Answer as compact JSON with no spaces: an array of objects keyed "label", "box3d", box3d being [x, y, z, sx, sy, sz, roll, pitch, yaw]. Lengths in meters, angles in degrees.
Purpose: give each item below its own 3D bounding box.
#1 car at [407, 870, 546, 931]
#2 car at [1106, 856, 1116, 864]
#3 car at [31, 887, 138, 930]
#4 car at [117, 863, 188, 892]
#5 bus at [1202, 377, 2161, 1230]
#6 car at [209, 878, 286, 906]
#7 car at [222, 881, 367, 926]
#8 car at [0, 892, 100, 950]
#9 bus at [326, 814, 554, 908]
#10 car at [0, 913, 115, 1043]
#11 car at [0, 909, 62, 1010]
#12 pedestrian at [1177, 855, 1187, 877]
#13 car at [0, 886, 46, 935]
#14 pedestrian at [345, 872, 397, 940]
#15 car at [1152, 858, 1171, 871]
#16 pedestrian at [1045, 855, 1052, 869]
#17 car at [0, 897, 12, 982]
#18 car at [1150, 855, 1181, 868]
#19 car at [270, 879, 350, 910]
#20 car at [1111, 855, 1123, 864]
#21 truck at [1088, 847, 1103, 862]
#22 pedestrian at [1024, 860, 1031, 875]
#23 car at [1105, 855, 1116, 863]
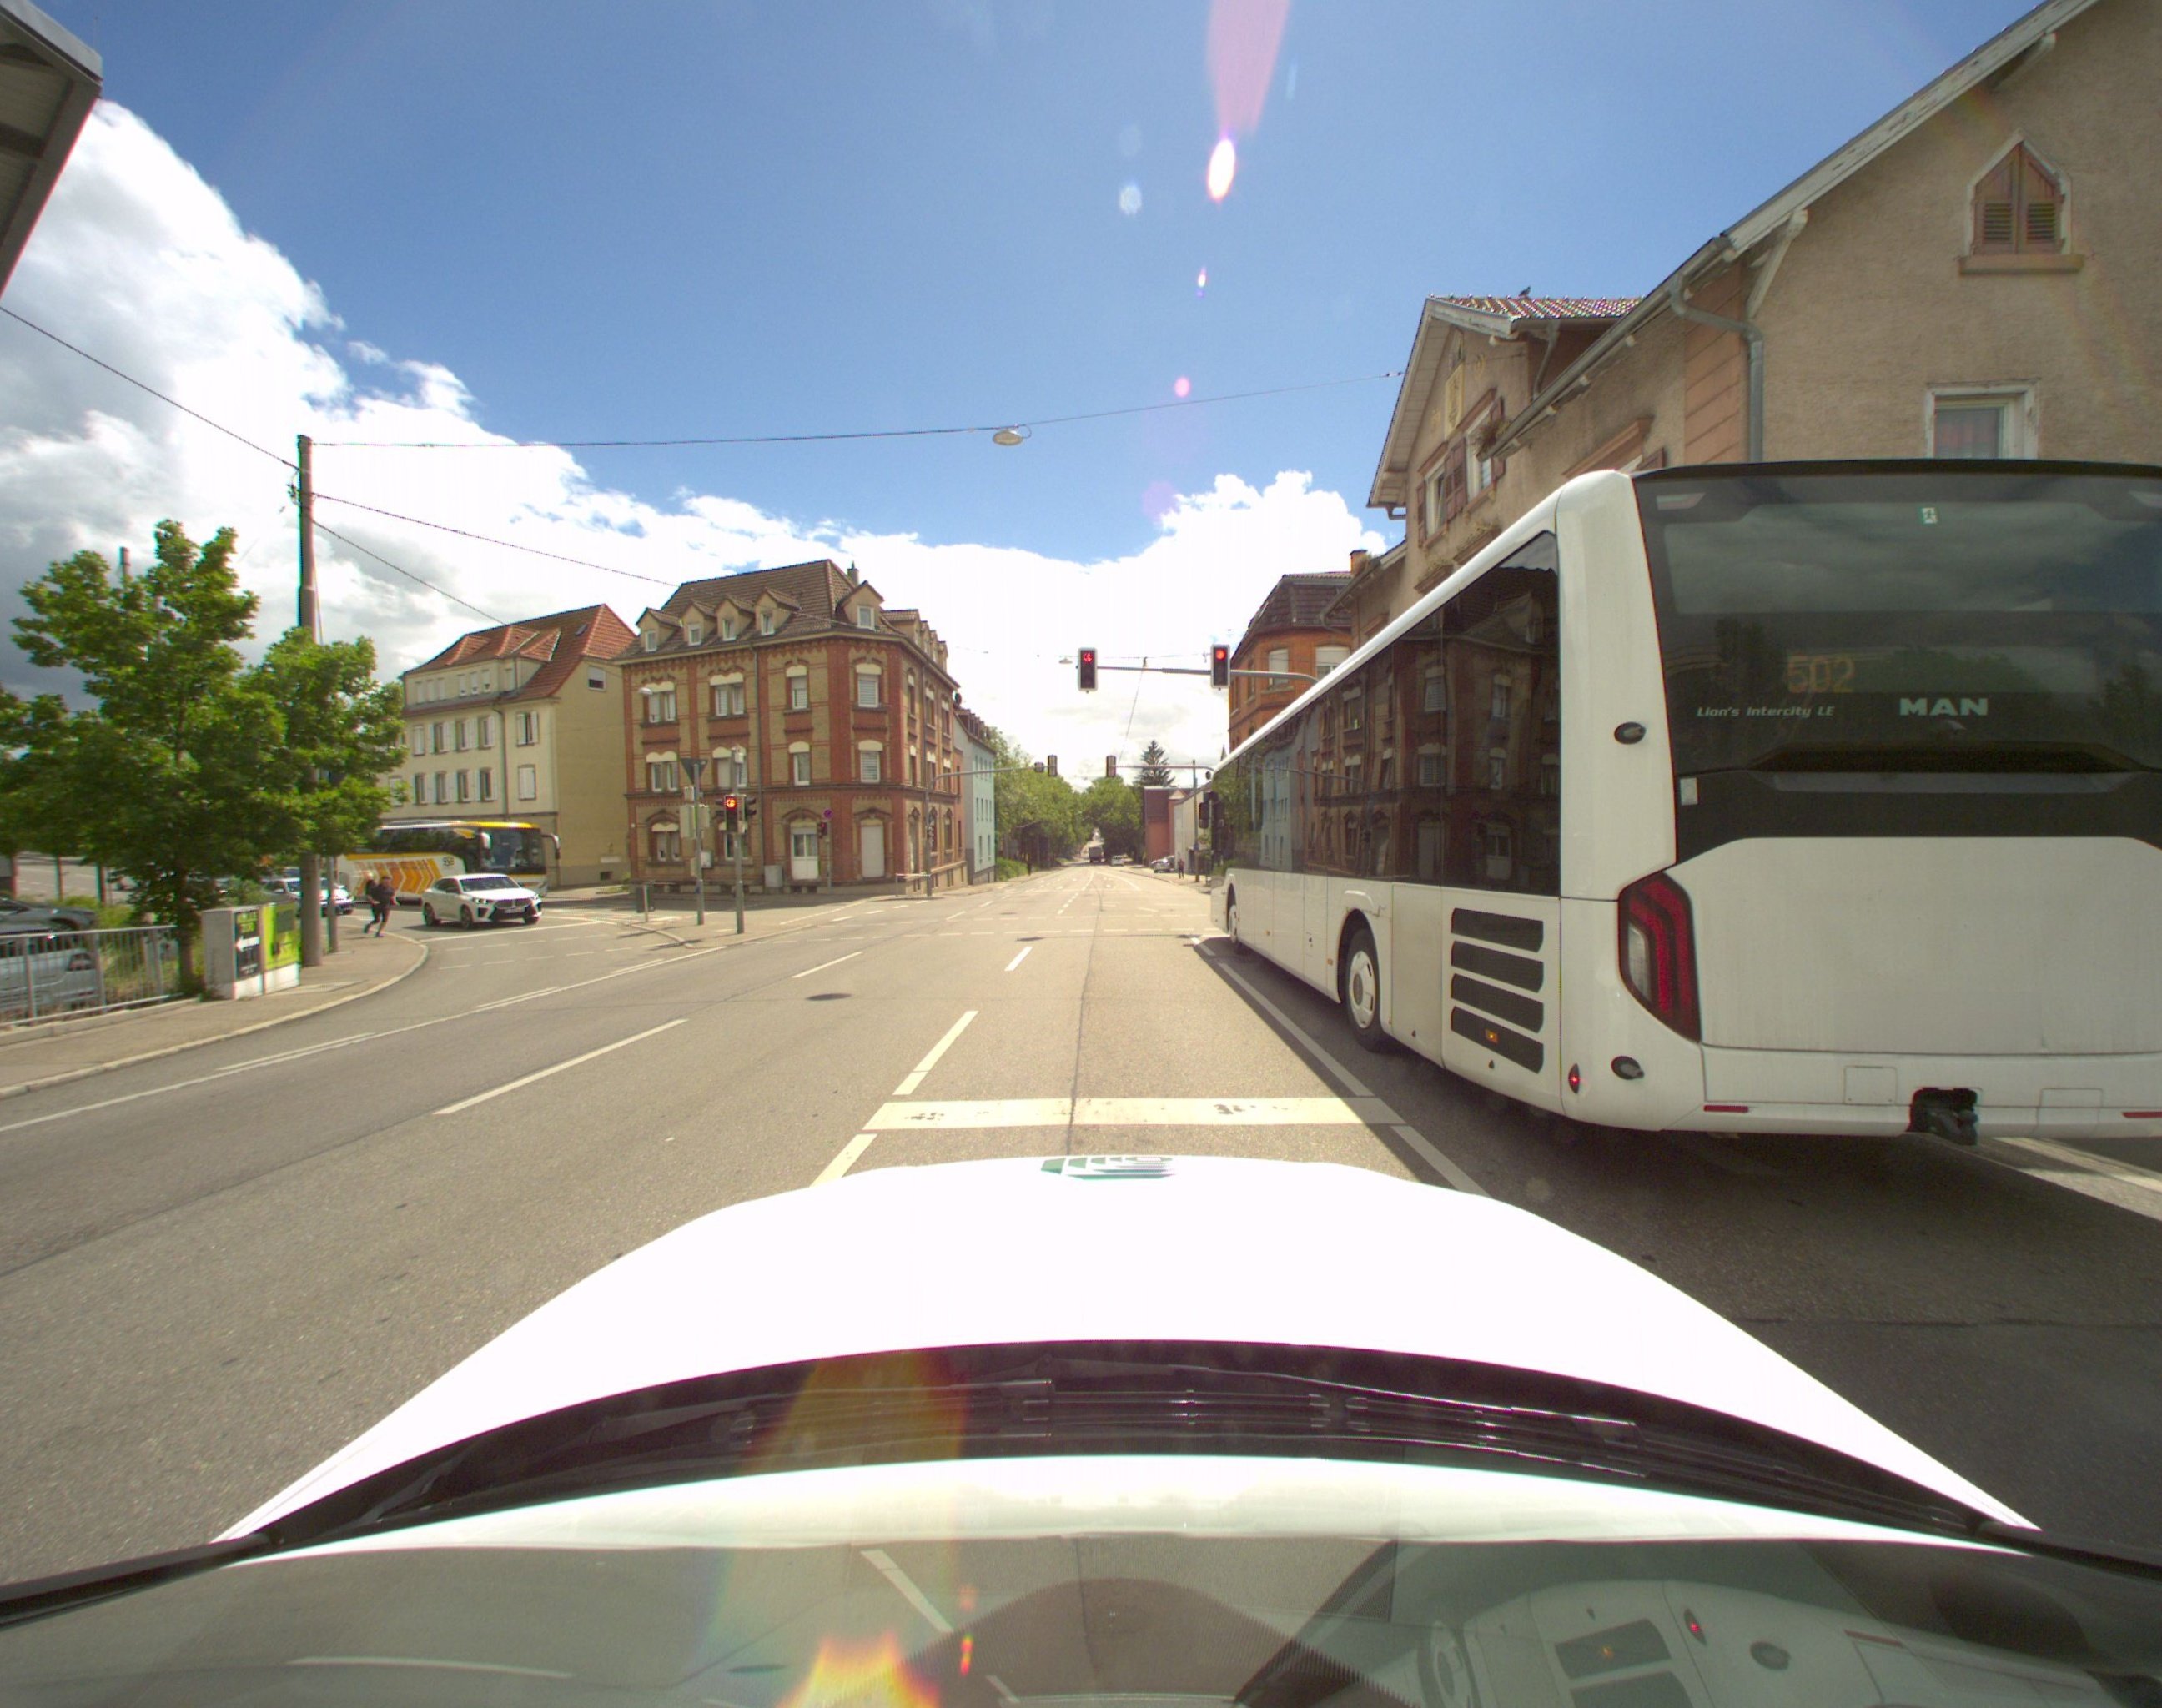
[{"label":"car","box3d":[-18.537,1.425,24.934,4.250,1.551,1.845,-4,1,31]},{"label":"car","box3d":[5.743,1.117,154.021,1.787,1.409,4.421,-1,0,3]},{"label":"car","box3d":[-37.593,2.024,30.723,3.456,1.448,1.811,-2,0,26]},{"label":"car","box3d":[-53.701,1.378,47.098,3.949,1.554,1.923,-2,0,29]},{"label":"bus","box3d":[3.483,-0.181,9.300,2.662,3.155,12.467,-2,0,2]},{"label":"car","box3d":[-45.720,2.098,44.655,3.949,1.409,1.923,-2,0,29]},{"label":"car","box3d":[-28.806,1.794,29.910,3.592,1.418,1.887,-2,0,4]},{"label":"car","box3d":[-29.557,1.853,22.108,1.777,1.477,3.522,-2,0,32]},{"label":"bus","box3d":[-28.203,0.399,35.558,12.110,3.622,2.788,-1,0,26]},{"label":"car","box3d":[-16.015,1.790,12.069,3.321,1.560,1.692,0,2,32]},{"label":"car","box3d":[-19.502,1.835,14.161,3.455,1.526,1.626,-1,2,29]},{"label":"pedestrian","box3d":[8.498,0.998,68.467,0.736,1.750,0.619,-2,0,1]},{"label":"car","box3d":[-36.373,1.870,25.841,1.785,1.553,4.023,-2,0,25]},{"label":"pedestrian","box3d":[-18.990,1.381,21.788,1.129,1.734,0.764,-2,-1,34]},{"label":"car","box3d":[9.225,1.170,93.025,1.788,1.409,4.000,-2,0,1]},{"label":"pedestrian","box3d":[-4.706,1.182,117.911,0.991,2.013,1.189,-2,0,1]},{"label":"car","box3d":[-23.445,1.756,16.494,3.455,1.680,1.663,-1,2,30]},{"label":"car","box3d":[11.772,1.038,113.080,3.978,1.757,1.998,-2,0,-3]},{"label":"car","box3d":[-39.059,2.032,41.230,3.949,1.409,1.762,-2,0,28]},{"label":"car","box3d":[5.751,0.943,129.519,1.787,1.409,4.001,-1,0,2]},{"label":"truck","box3d":[3.201,0.133,178.418,2.917,3.081,7.883,-2,0,0]},{"label":"pedestrian","box3d":[-5.814,1.447,88.530,0.727,1.565,0.561,-1,-1,0]},{"label":"car","box3d":[5.307,0.984,146.340,1.787,1.409,4.421,-1,0,3]}]
